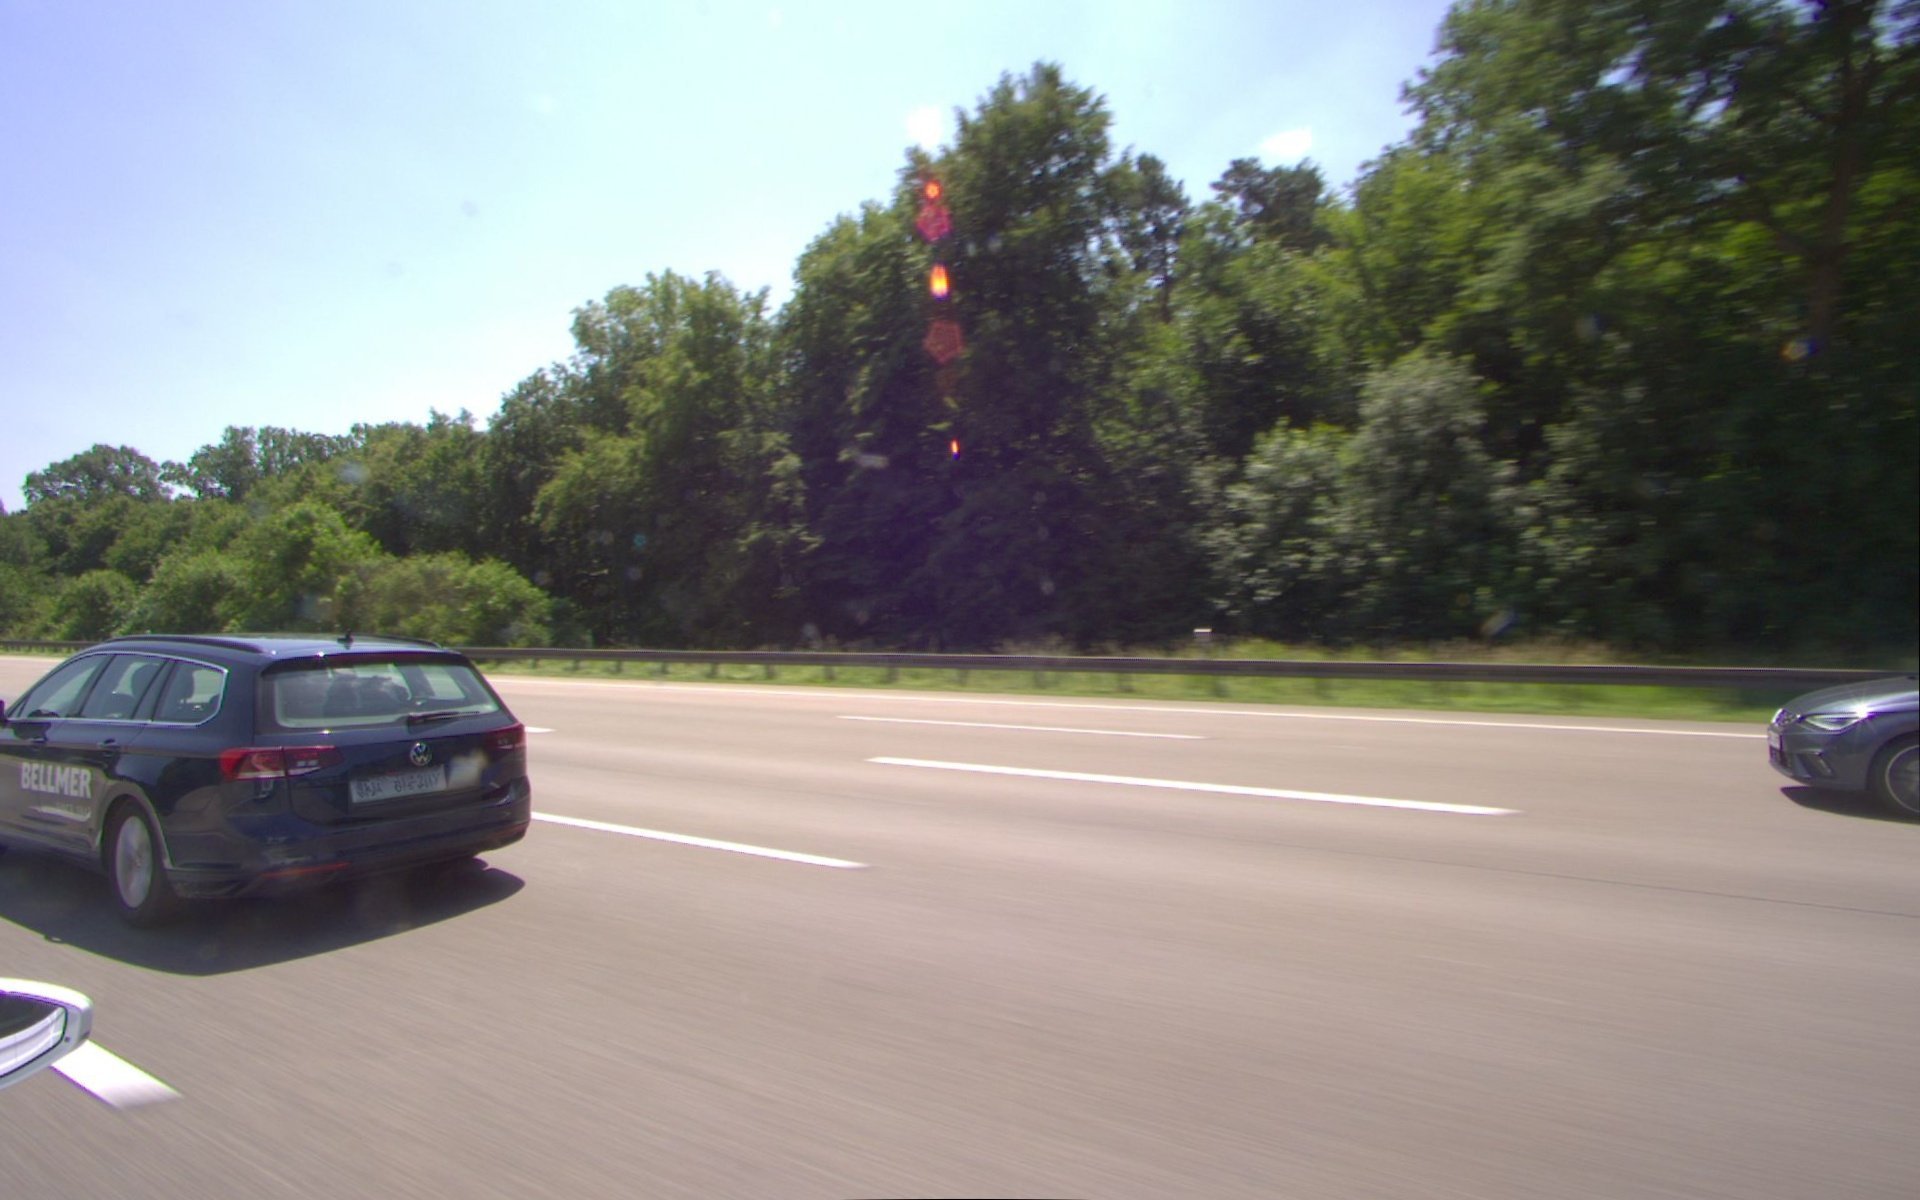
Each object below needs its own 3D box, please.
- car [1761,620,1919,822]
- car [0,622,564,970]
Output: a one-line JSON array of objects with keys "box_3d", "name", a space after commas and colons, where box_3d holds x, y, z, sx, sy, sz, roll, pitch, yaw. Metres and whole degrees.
[{"box_3d": [8.700, 0.879, 7.075, 4.568, 1.457, 1.640, -1, -2, 32], "name": "car"}, {"box_3d": [-4.767, 0.878, 6.333, 4.891, 1.466, 1.726, -1, -1, 33], "name": "car"}]
